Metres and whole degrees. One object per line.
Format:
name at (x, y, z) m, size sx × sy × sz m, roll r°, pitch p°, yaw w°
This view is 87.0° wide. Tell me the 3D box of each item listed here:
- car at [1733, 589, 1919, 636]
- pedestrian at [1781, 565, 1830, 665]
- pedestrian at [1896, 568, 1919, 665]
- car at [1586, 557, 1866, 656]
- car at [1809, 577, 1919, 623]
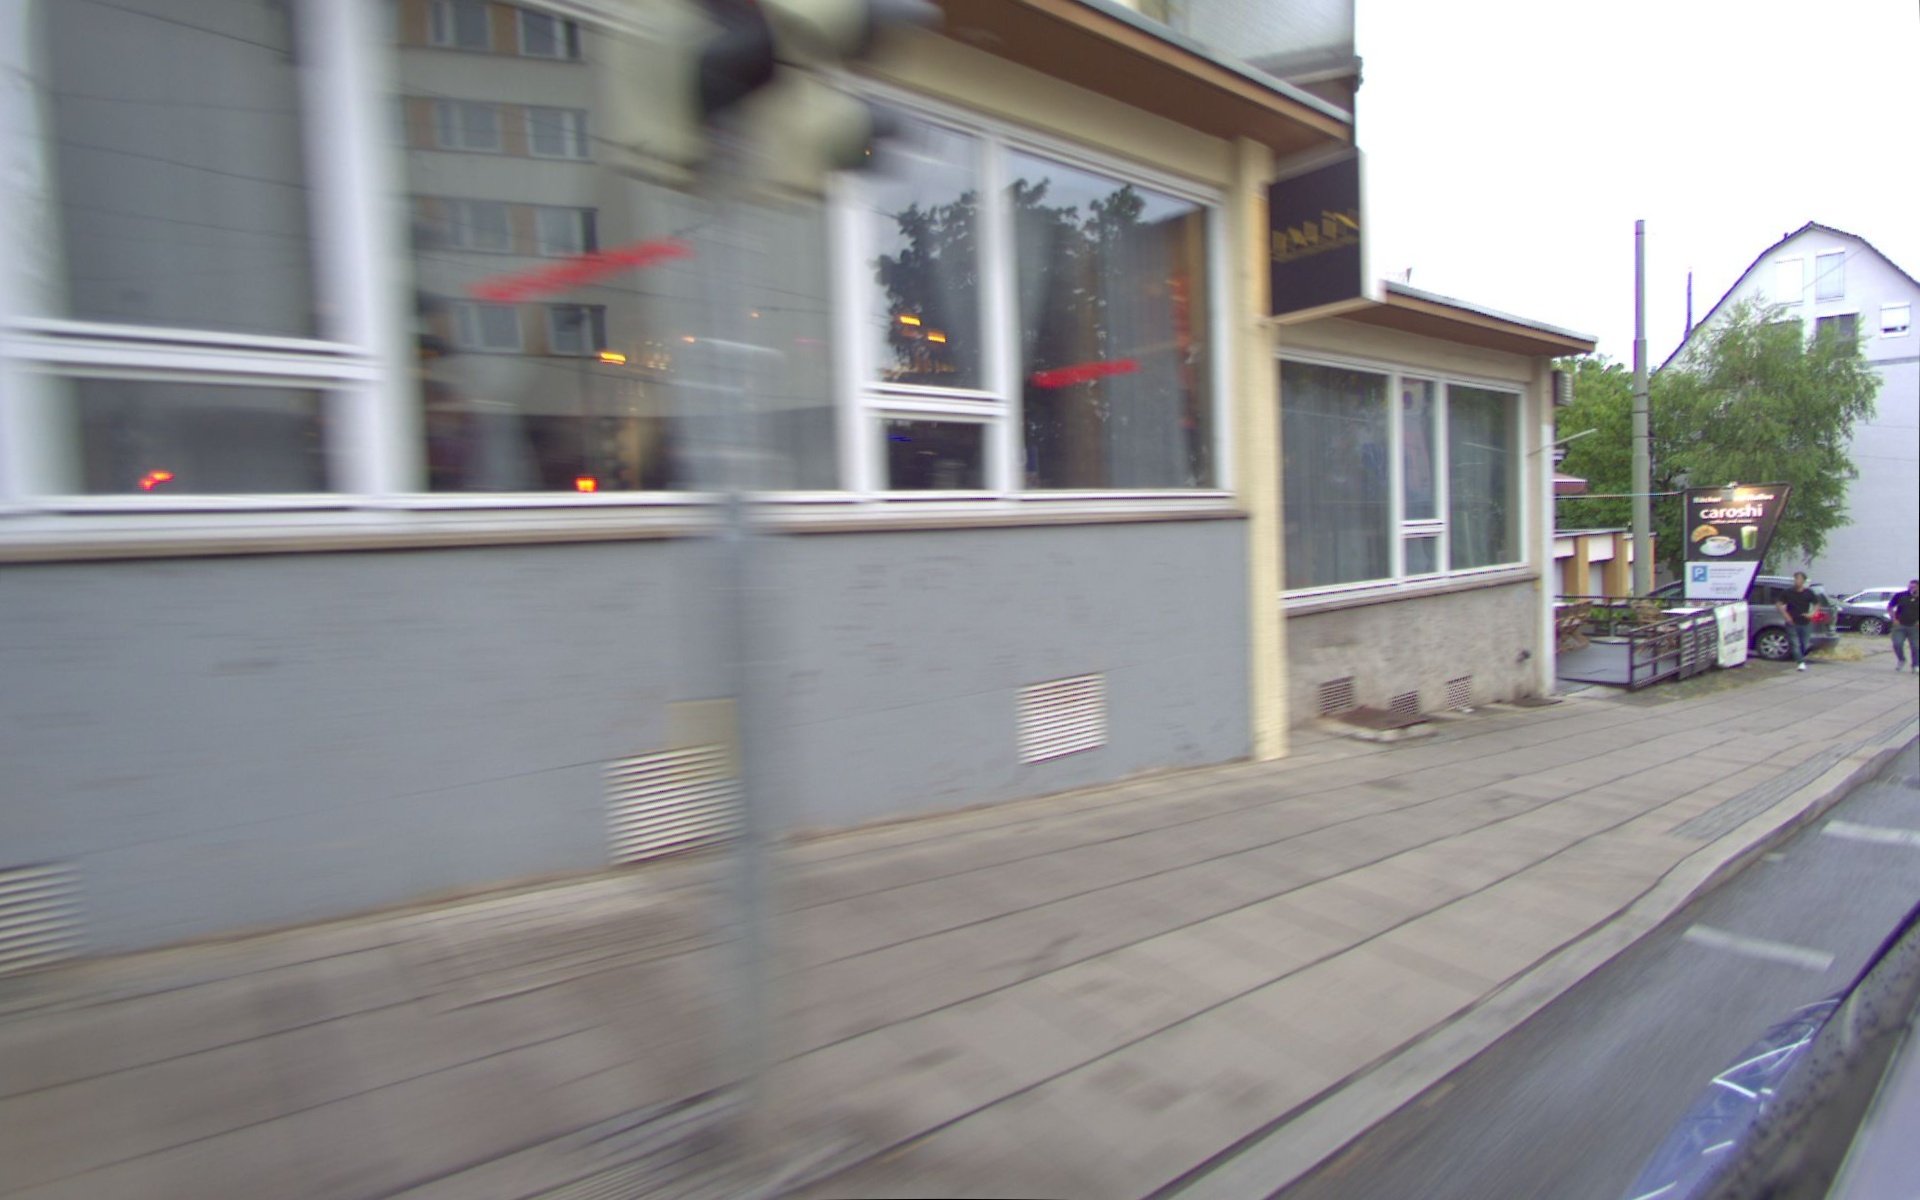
car at (29.803, 0.406, 34.688) m, size 1.939 × 1.455 × 4.942 m, roll -2°, pitch 1°, yaw -39°
pedestrian at (15.020, 0.266, 17.981) m, size 0.604 × 1.736 × 0.579 m, roll 0°, pitch -1°, yaw -44°
pedestrian at (17.674, 0.308, 18.518) m, size 0.719 × 1.735 × 0.599 m, roll 4°, pitch 3°, yaw 44°
car at (16.032, 0.073, 21.398) m, size 1.748 × 1.694 × 4.342 m, roll 1°, pitch 3°, yaw -38°
car at (34.577, -0.030, 38.019) m, size 1.789 × 1.483 × 3.990 m, roll -9°, pitch 7°, yaw -44°
